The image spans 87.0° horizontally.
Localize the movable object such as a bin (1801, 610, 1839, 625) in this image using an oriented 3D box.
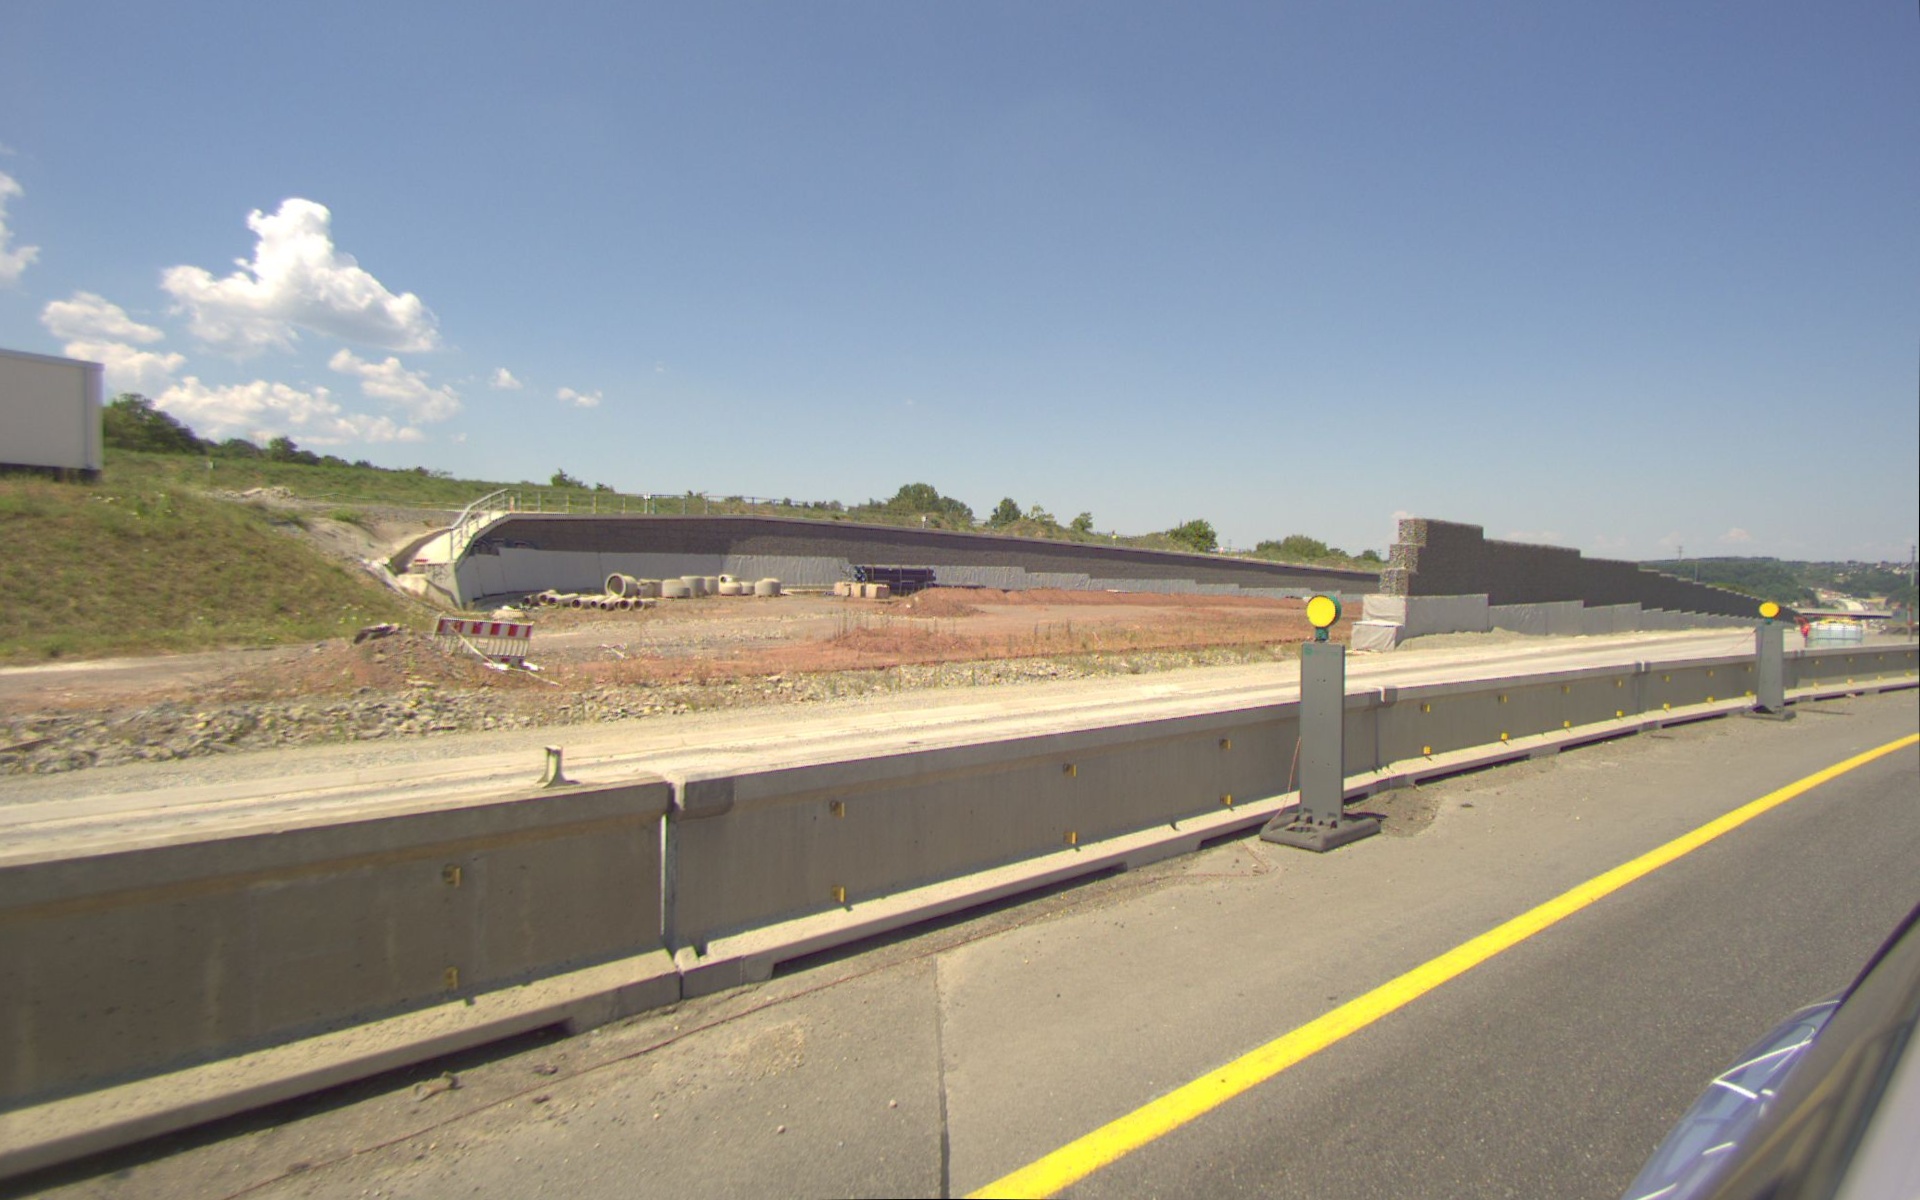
[{"bbox_3d":[132.770,2.650,156.285,4.075,2.174,1.754,2,1,16],"label":"movable object such as a bin"}]
